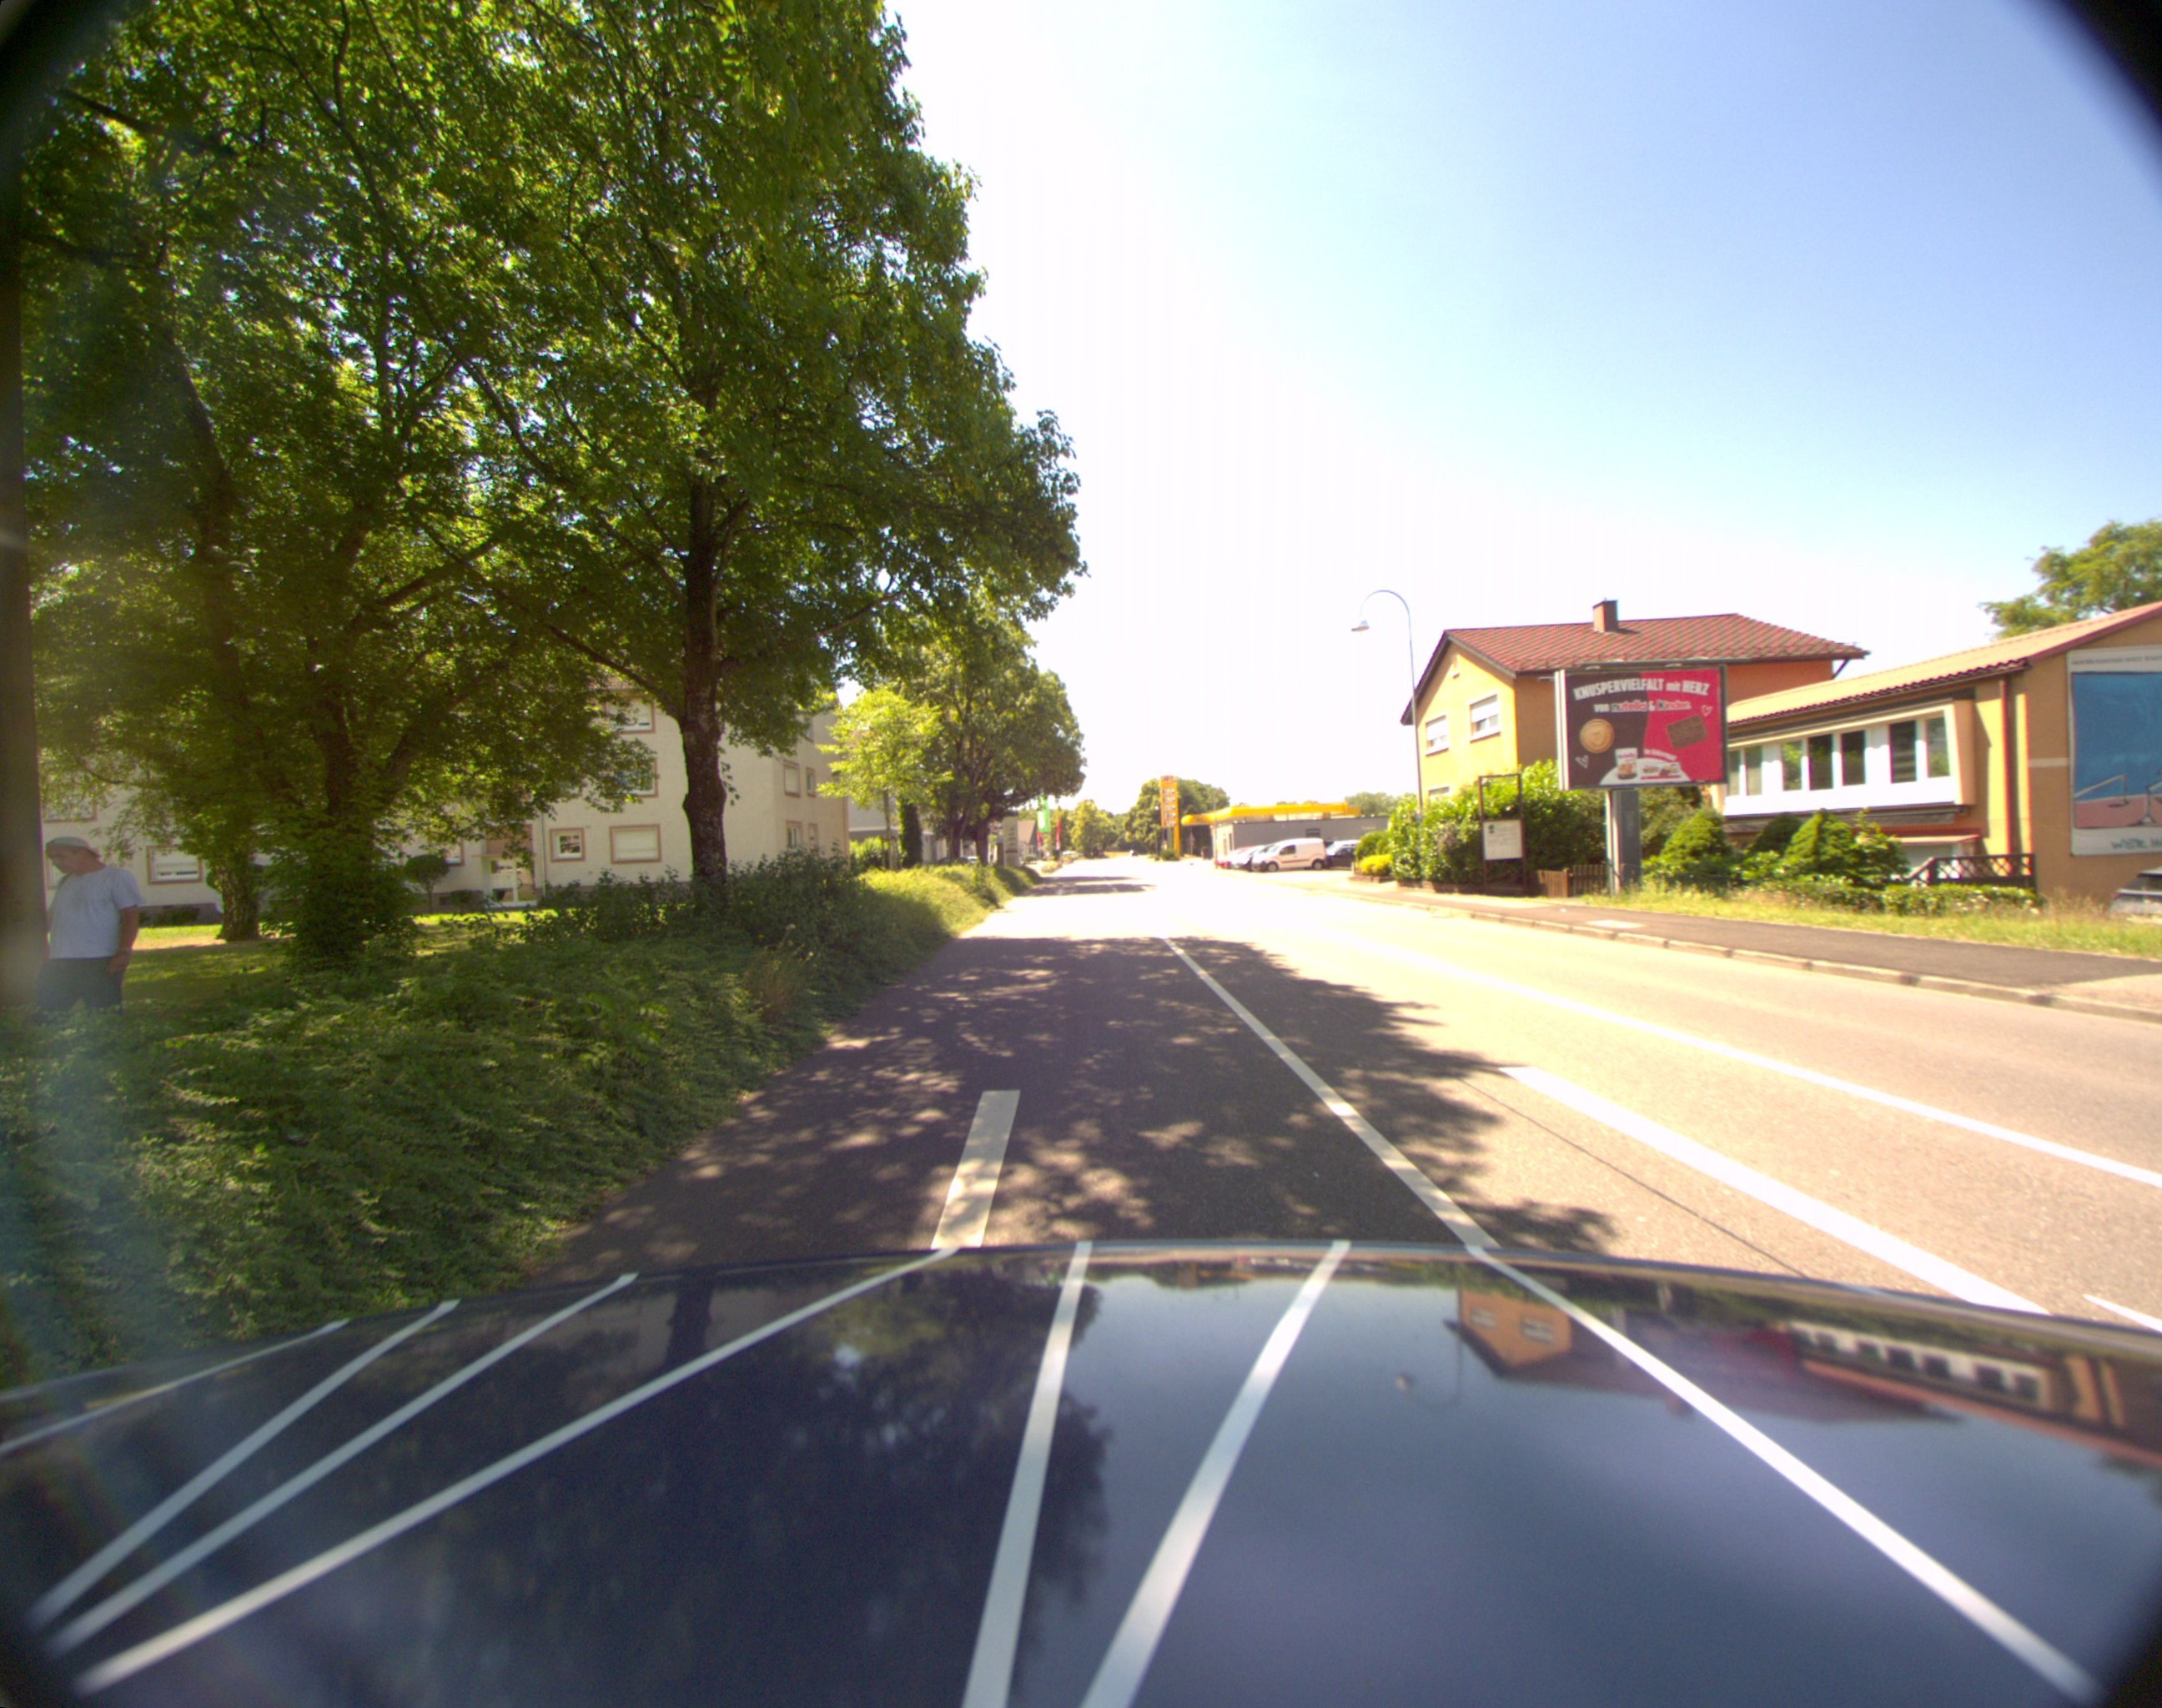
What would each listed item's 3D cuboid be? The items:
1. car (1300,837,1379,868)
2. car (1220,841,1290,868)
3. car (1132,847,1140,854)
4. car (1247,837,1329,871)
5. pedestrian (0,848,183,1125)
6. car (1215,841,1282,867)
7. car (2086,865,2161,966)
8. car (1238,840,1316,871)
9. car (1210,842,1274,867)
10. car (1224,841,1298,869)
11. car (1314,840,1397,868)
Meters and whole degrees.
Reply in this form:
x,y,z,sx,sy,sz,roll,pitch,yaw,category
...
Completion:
x,y,z,sx,sy,sz,roll,pitch,yaw,category
16.524,-0.118,48.668,4.402,1.815,1.874,-2,1,-5,car
12.145,0.017,53.279,4.402,1.750,1.874,-2,1,-5,car
12.693,-0.841,176.338,1.809,1.552,4.064,-2,1,5,car
12.086,0.001,44.439,4.191,1.858,1.874,-2,1,-5,car
-7.444,0.904,5.570,0.675,1.863,0.901,-3,1,-21,pedestrian
12.234,-0.031,55.611,4.402,1.750,1.874,-2,1,-5,car
19.864,0.987,12.369,4.224,1.599,1.772,-1,1,7,car
11.963,0.085,46.523,4.246,1.750,1.874,-2,1,-5,car
12.213,0.023,57.866,4.402,1.750,1.874,-2,1,-5,car
12.054,0.053,51.065,4.402,1.750,1.874,-2,1,-5,car
16.746,0.010,46.451,4.402,1.554,1.874,-2,1,-5,car
